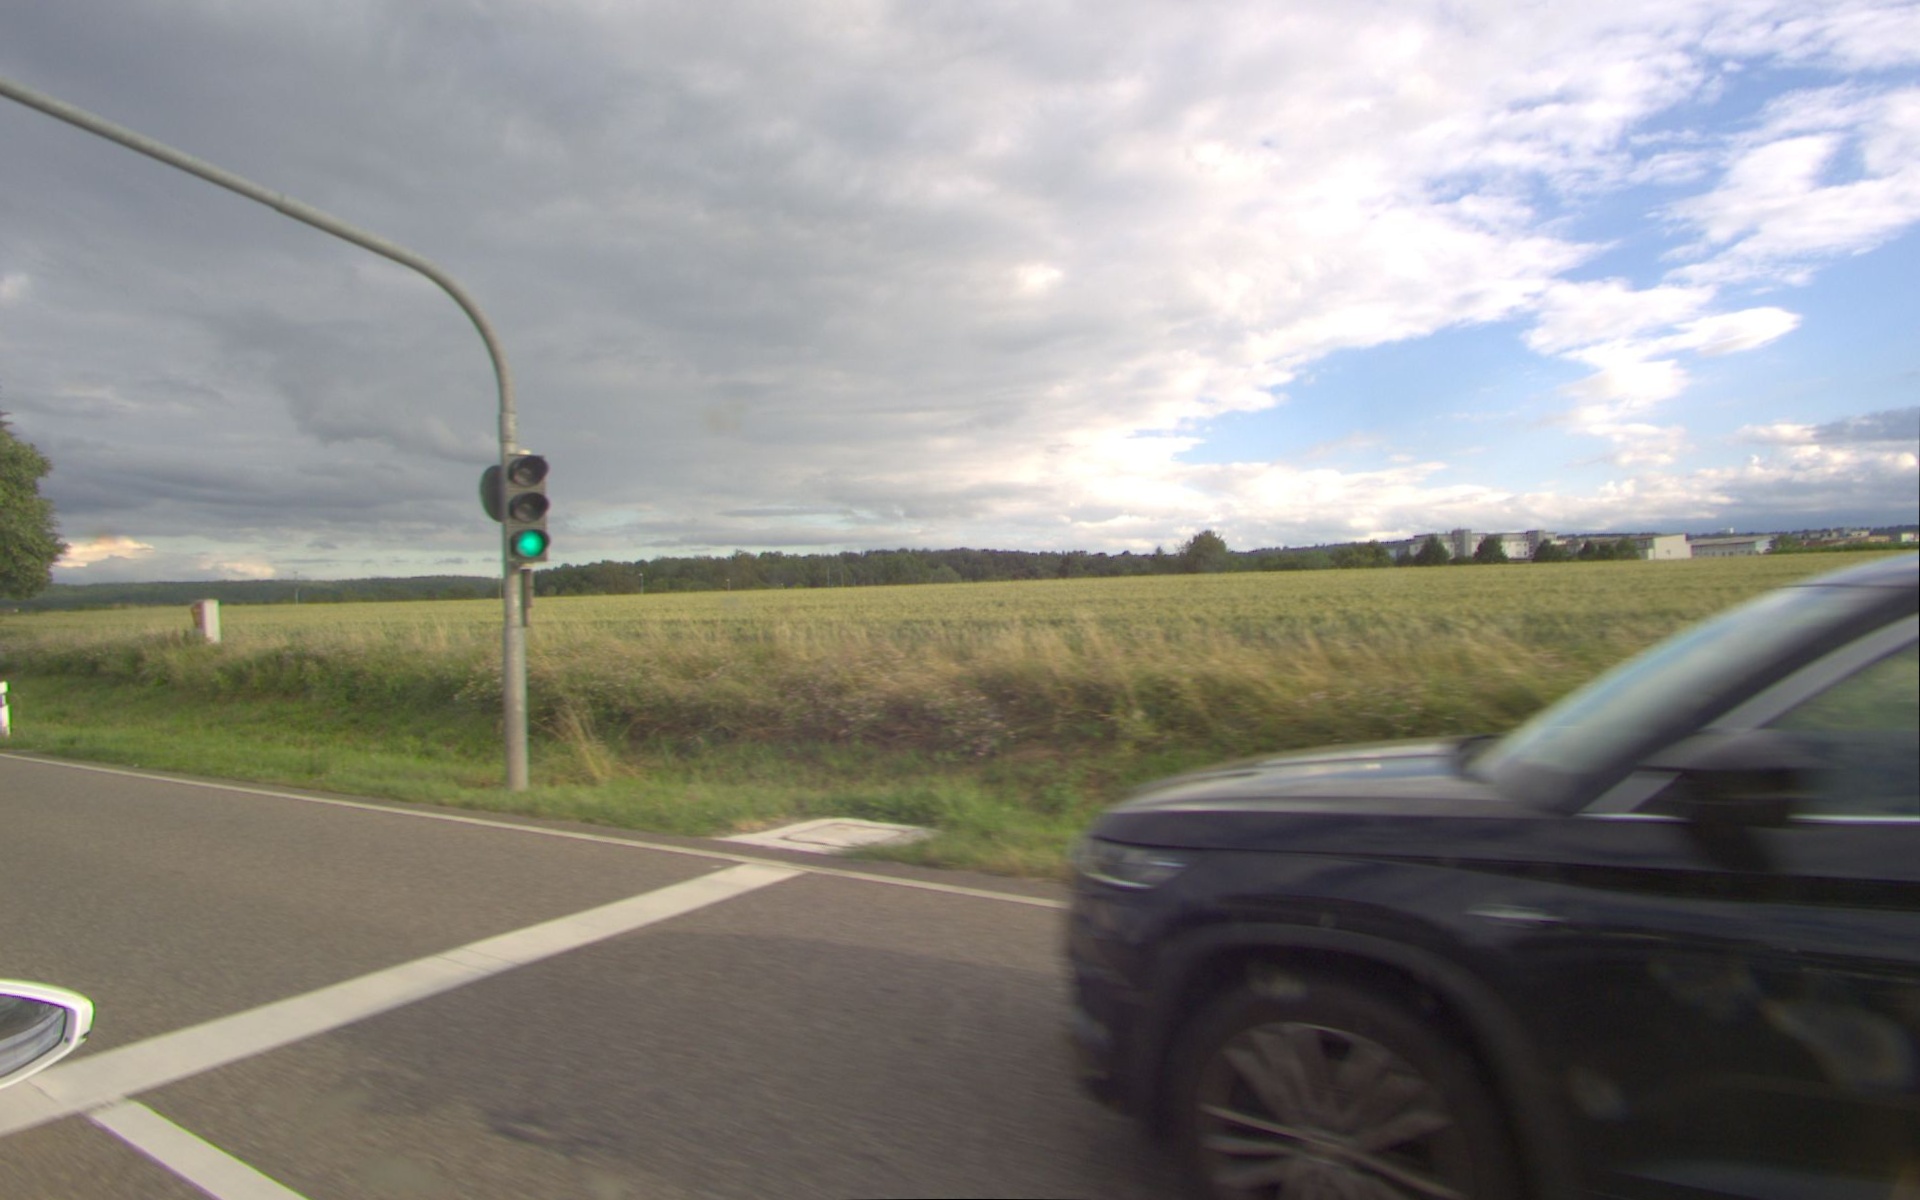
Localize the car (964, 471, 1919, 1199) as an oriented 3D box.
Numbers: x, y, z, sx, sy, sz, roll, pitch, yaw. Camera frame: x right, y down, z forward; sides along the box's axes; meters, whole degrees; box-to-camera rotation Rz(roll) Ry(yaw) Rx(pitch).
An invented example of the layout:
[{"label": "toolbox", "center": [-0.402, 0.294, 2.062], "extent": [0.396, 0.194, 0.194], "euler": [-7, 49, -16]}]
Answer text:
[{"label": "car", "center": [2.300, 0.654, 2.136], "extent": [4.356, 1.689, 1.716], "euler": [-1, -2, 32]}]
